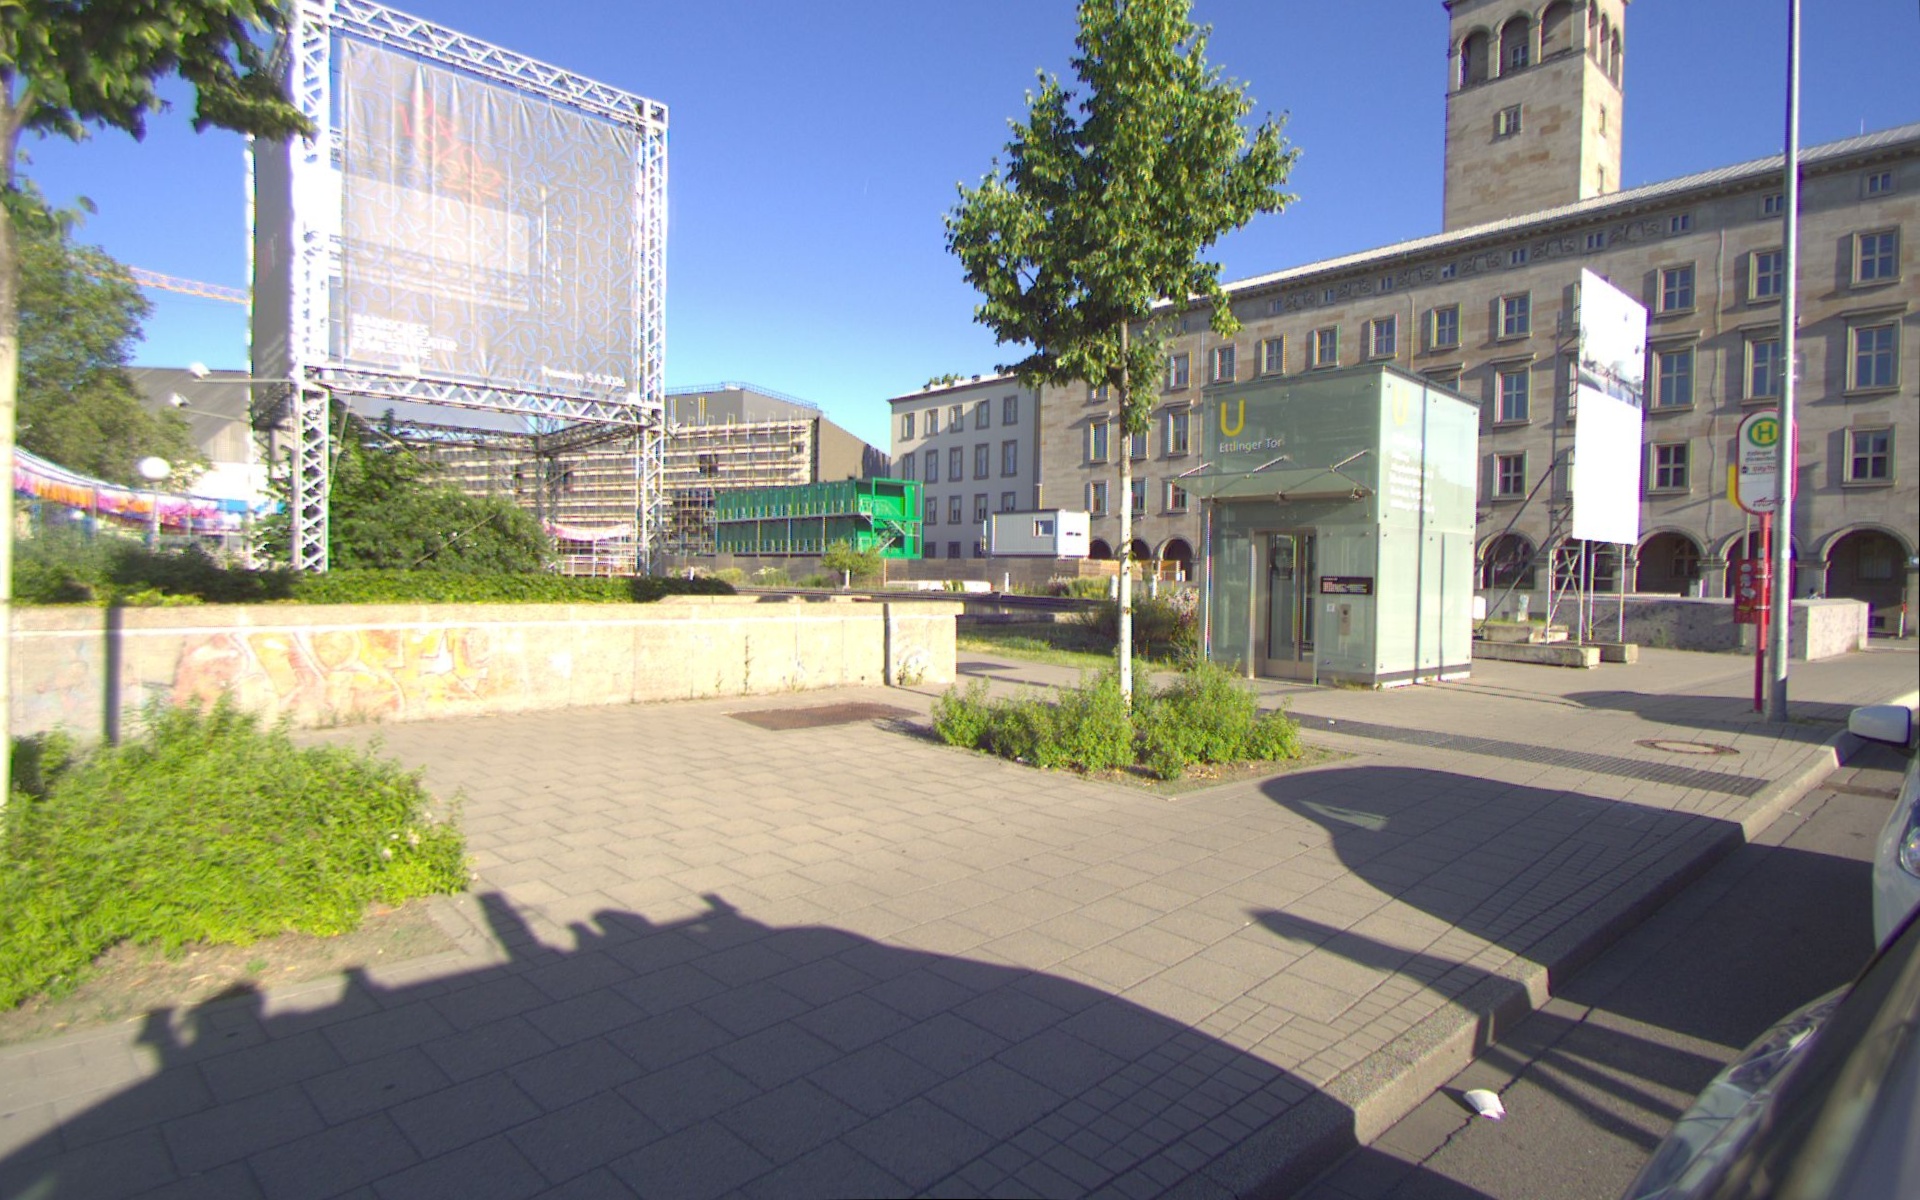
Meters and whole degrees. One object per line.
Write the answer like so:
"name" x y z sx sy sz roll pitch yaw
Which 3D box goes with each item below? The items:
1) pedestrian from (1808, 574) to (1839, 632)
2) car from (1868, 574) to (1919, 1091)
"pedestrian" 25.845 0.080 30.277 0.572 1.732 0.595 0 1 -41
"car" 4.647 0.678 3.668 3.930 1.473 1.518 0 2 -41
